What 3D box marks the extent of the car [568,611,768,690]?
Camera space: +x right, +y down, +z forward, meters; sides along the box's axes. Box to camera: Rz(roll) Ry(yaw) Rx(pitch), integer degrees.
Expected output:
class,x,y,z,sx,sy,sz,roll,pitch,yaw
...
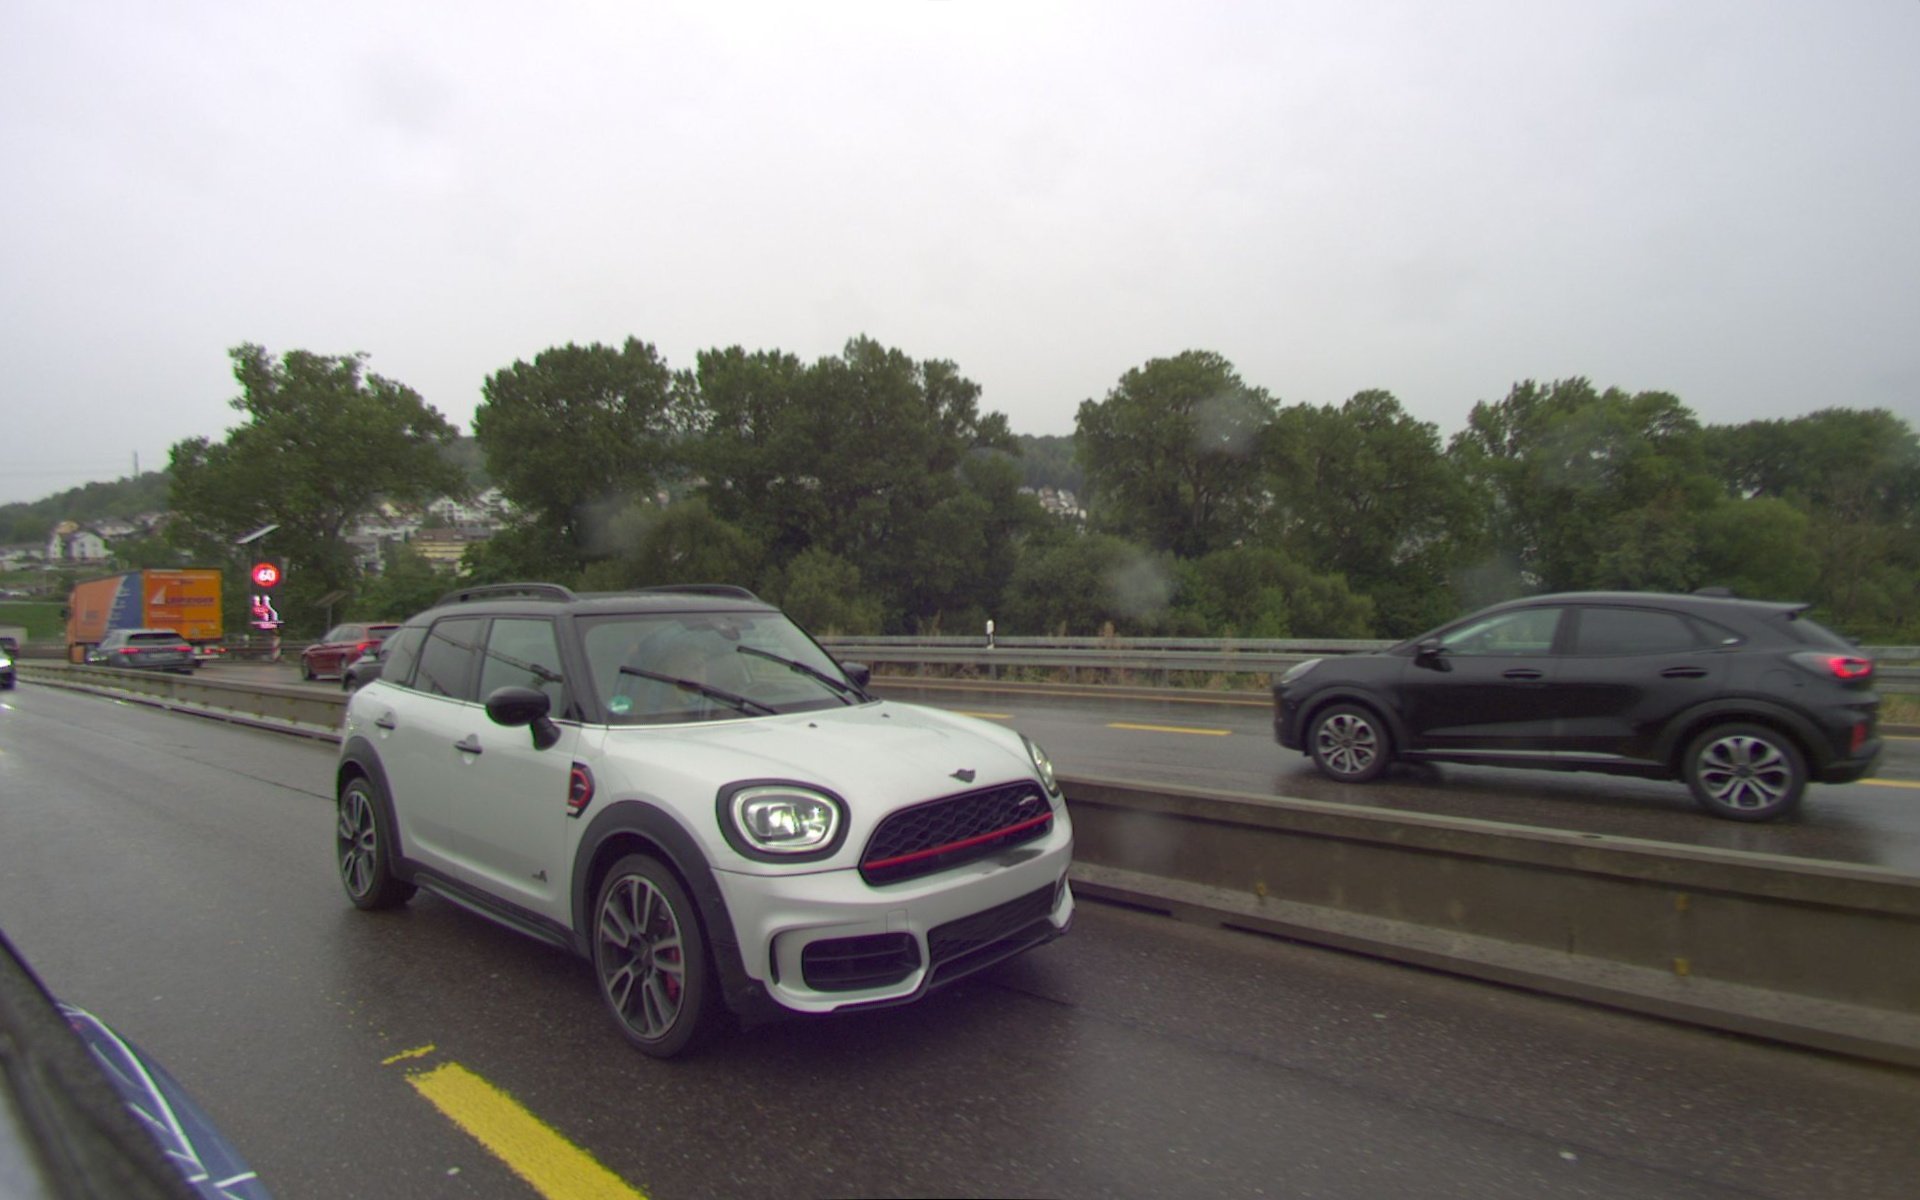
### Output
class,x,y,z,sx,sy,sz,roll,pitch,yaw
car,-6.546,1.051,22.405,4.743,1.522,1.973,-1,0,41

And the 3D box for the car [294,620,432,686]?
class,x,y,z,sx,sy,sz,roll,pitch,yaw
car,-15.461,1.303,26.121,4.304,1.522,1.799,-1,0,41

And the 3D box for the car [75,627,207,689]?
class,x,y,z,sx,sy,sz,roll,pitch,yaw
car,-22.687,1.540,27.981,4.742,1.522,1.953,-1,0,40

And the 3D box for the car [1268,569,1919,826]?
class,x,y,z,sx,sy,sz,roll,pitch,yaw
car,4.714,0.656,7.913,3.996,1.508,1.802,-3,-2,40

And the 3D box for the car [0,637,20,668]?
class,x,y,z,sx,sy,sz,roll,pitch,yaw
car,-67.165,3.634,70.558,3.998,2.029,1.882,0,-3,41

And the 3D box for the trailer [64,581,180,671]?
class,x,y,z,sx,sy,sz,roll,pitch,yaw
trailer,-39.521,1.214,47.660,6.348,3.948,3.236,-3,-1,41

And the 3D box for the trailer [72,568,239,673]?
class,x,y,z,sx,sy,sz,roll,pitch,yaw
trailer,-35.011,0.993,43.688,13.691,3.938,3.243,-3,-1,41

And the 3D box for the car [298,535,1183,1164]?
class,x,y,z,sx,sy,sz,roll,pitch,yaw
car,-1.347,0.690,4.707,4.306,1.612,1.797,-2,-1,41

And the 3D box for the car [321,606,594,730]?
class,x,y,z,sx,sy,sz,roll,pitch,yaw
car,-7.098,0.917,14.104,4.409,1.460,1.887,-3,-4,42

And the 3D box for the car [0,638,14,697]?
class,x,y,z,sx,sy,sz,roll,pitch,yaw
car,-26.541,1.780,26.671,4.481,1.449,1.926,-1,0,41
